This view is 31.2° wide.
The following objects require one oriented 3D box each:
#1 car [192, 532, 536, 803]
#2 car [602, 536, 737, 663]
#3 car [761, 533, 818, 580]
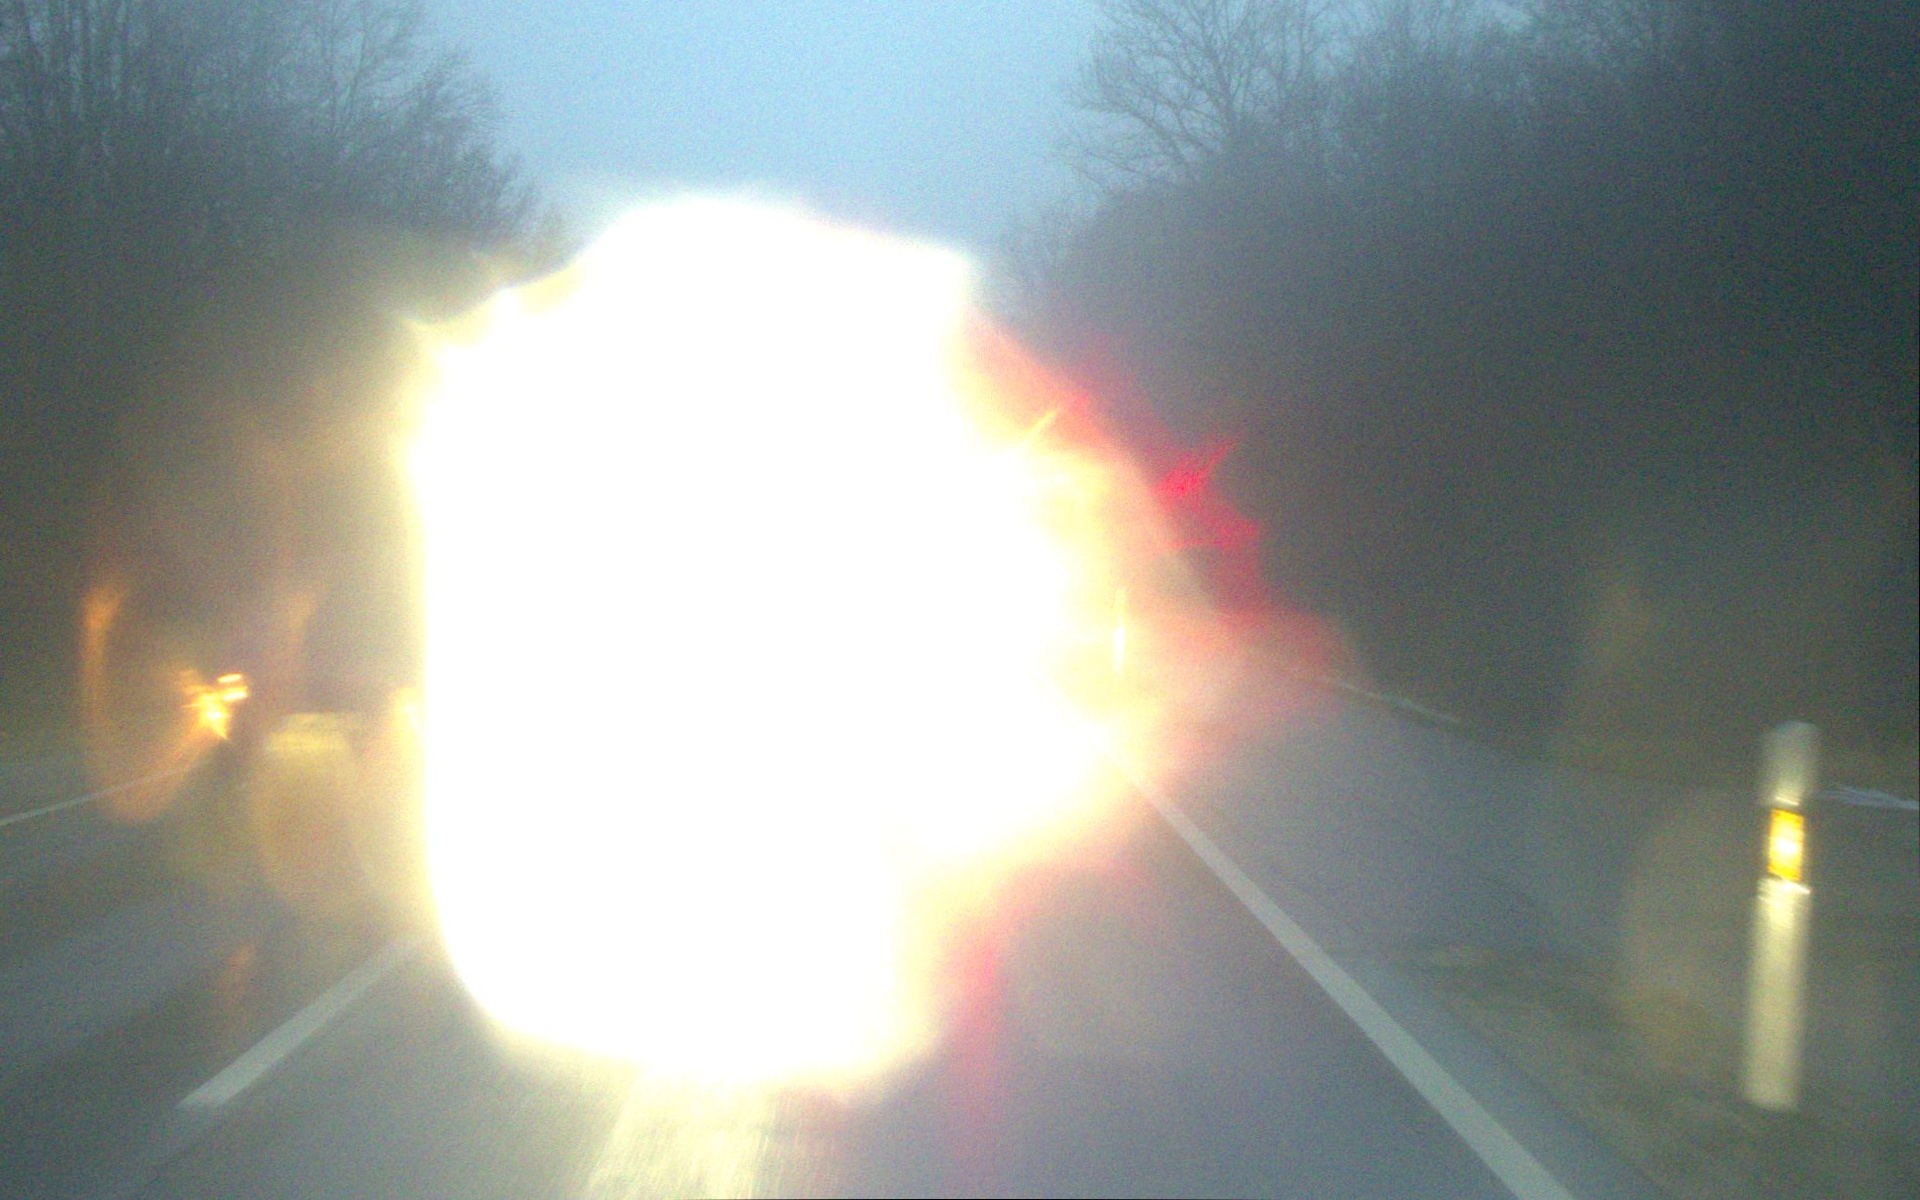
[{"bbox_3d":[-3.839,0.385,22.743,1.581,1.545,4.000,-3,1,-1],"label":"car"},{"bbox_3d":[-4.448,-0.030,53.105,1.706,1.816,4.286,-2,1,-1],"label":"car"},{"bbox_3d":[-5.196,-1.348,105.069,1.618,1.384,4.072,-1,1,-2],"label":"car"}]
